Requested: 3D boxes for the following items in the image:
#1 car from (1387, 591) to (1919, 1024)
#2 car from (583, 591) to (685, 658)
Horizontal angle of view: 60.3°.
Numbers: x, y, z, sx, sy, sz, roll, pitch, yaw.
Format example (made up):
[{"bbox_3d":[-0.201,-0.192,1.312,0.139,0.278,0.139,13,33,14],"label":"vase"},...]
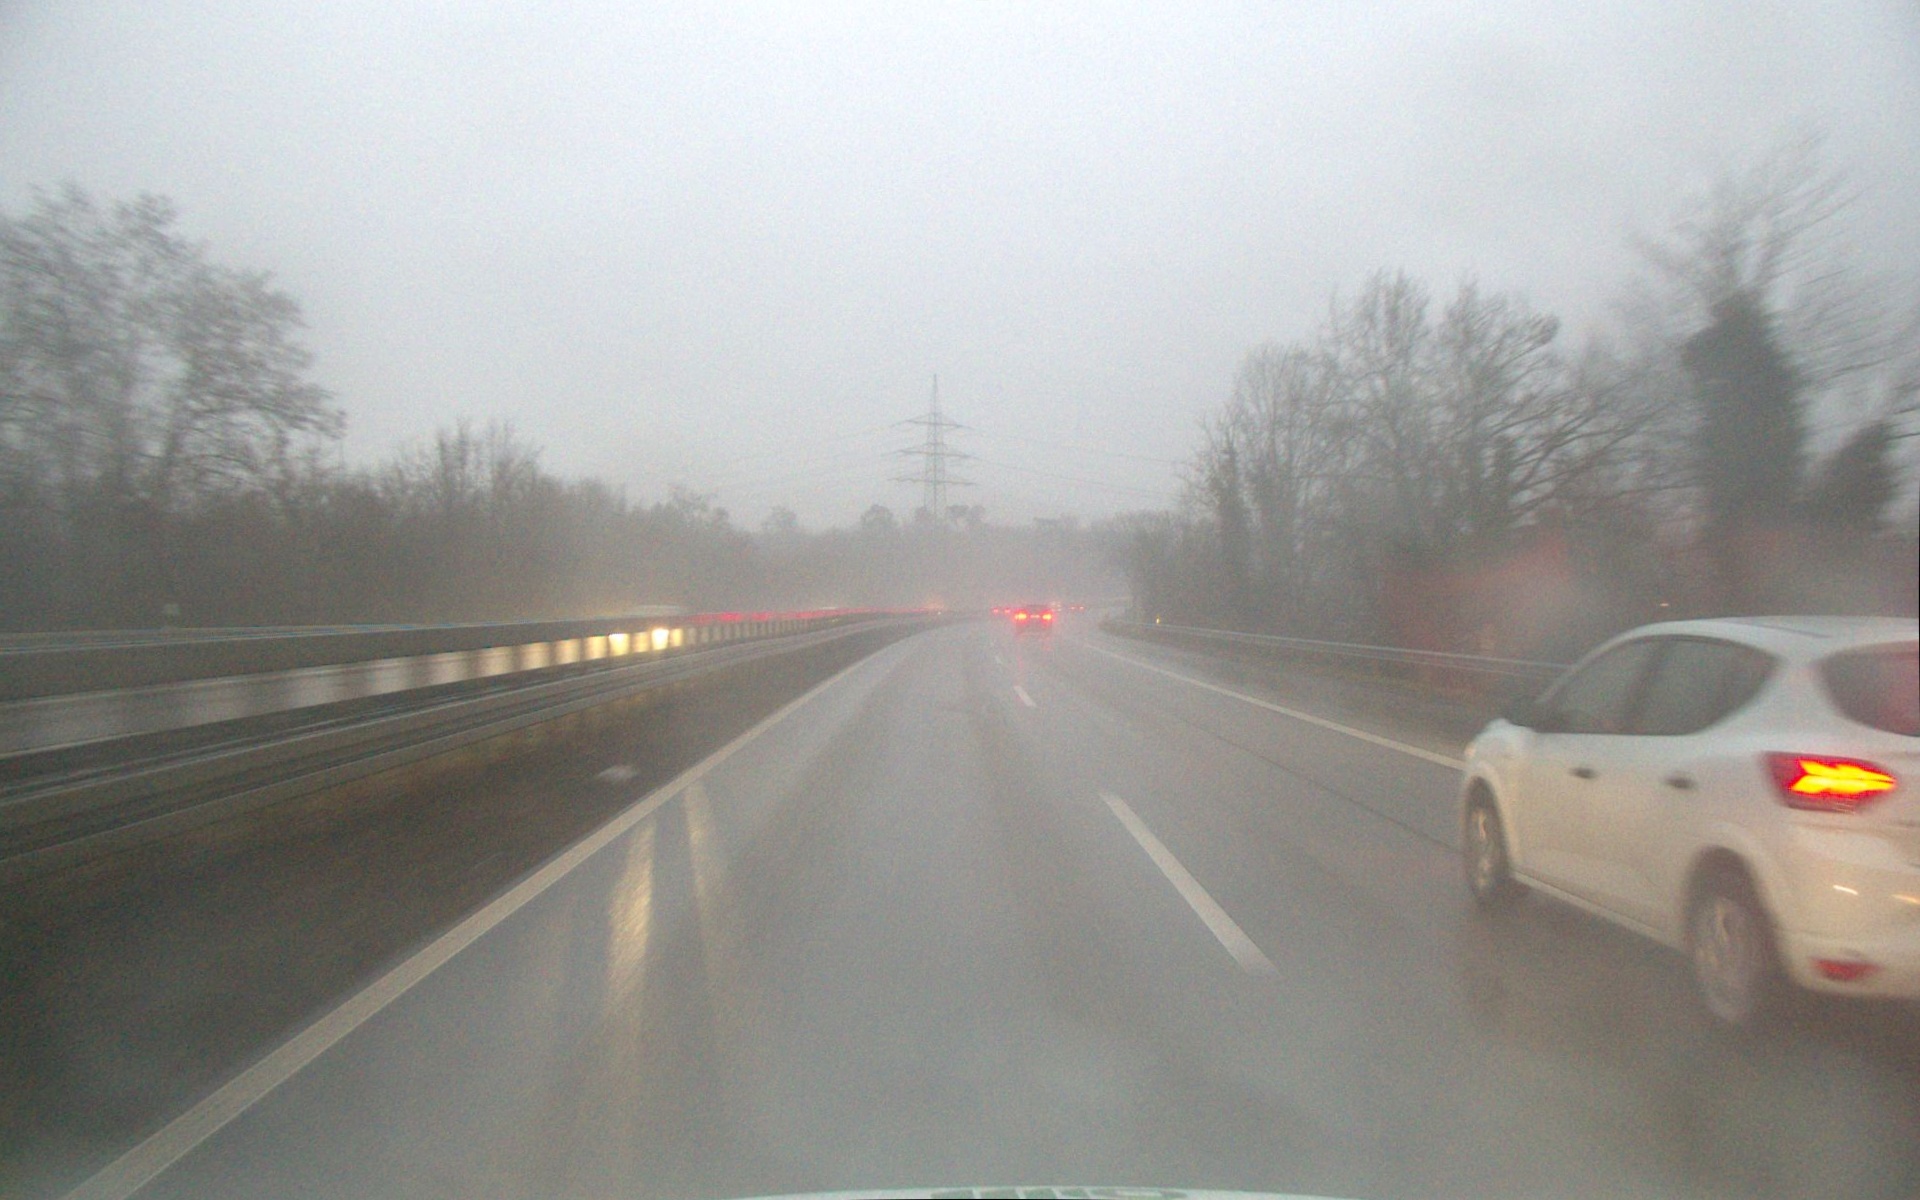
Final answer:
[{"bbox_3d":[3.478,0.729,7.927,1.761,1.529,3.999,-1,0,-1],"label":"car"},{"bbox_3d":[-7.633,0.557,39.016,1.575,1.500,4.176,0,0,0],"label":"car"}]
